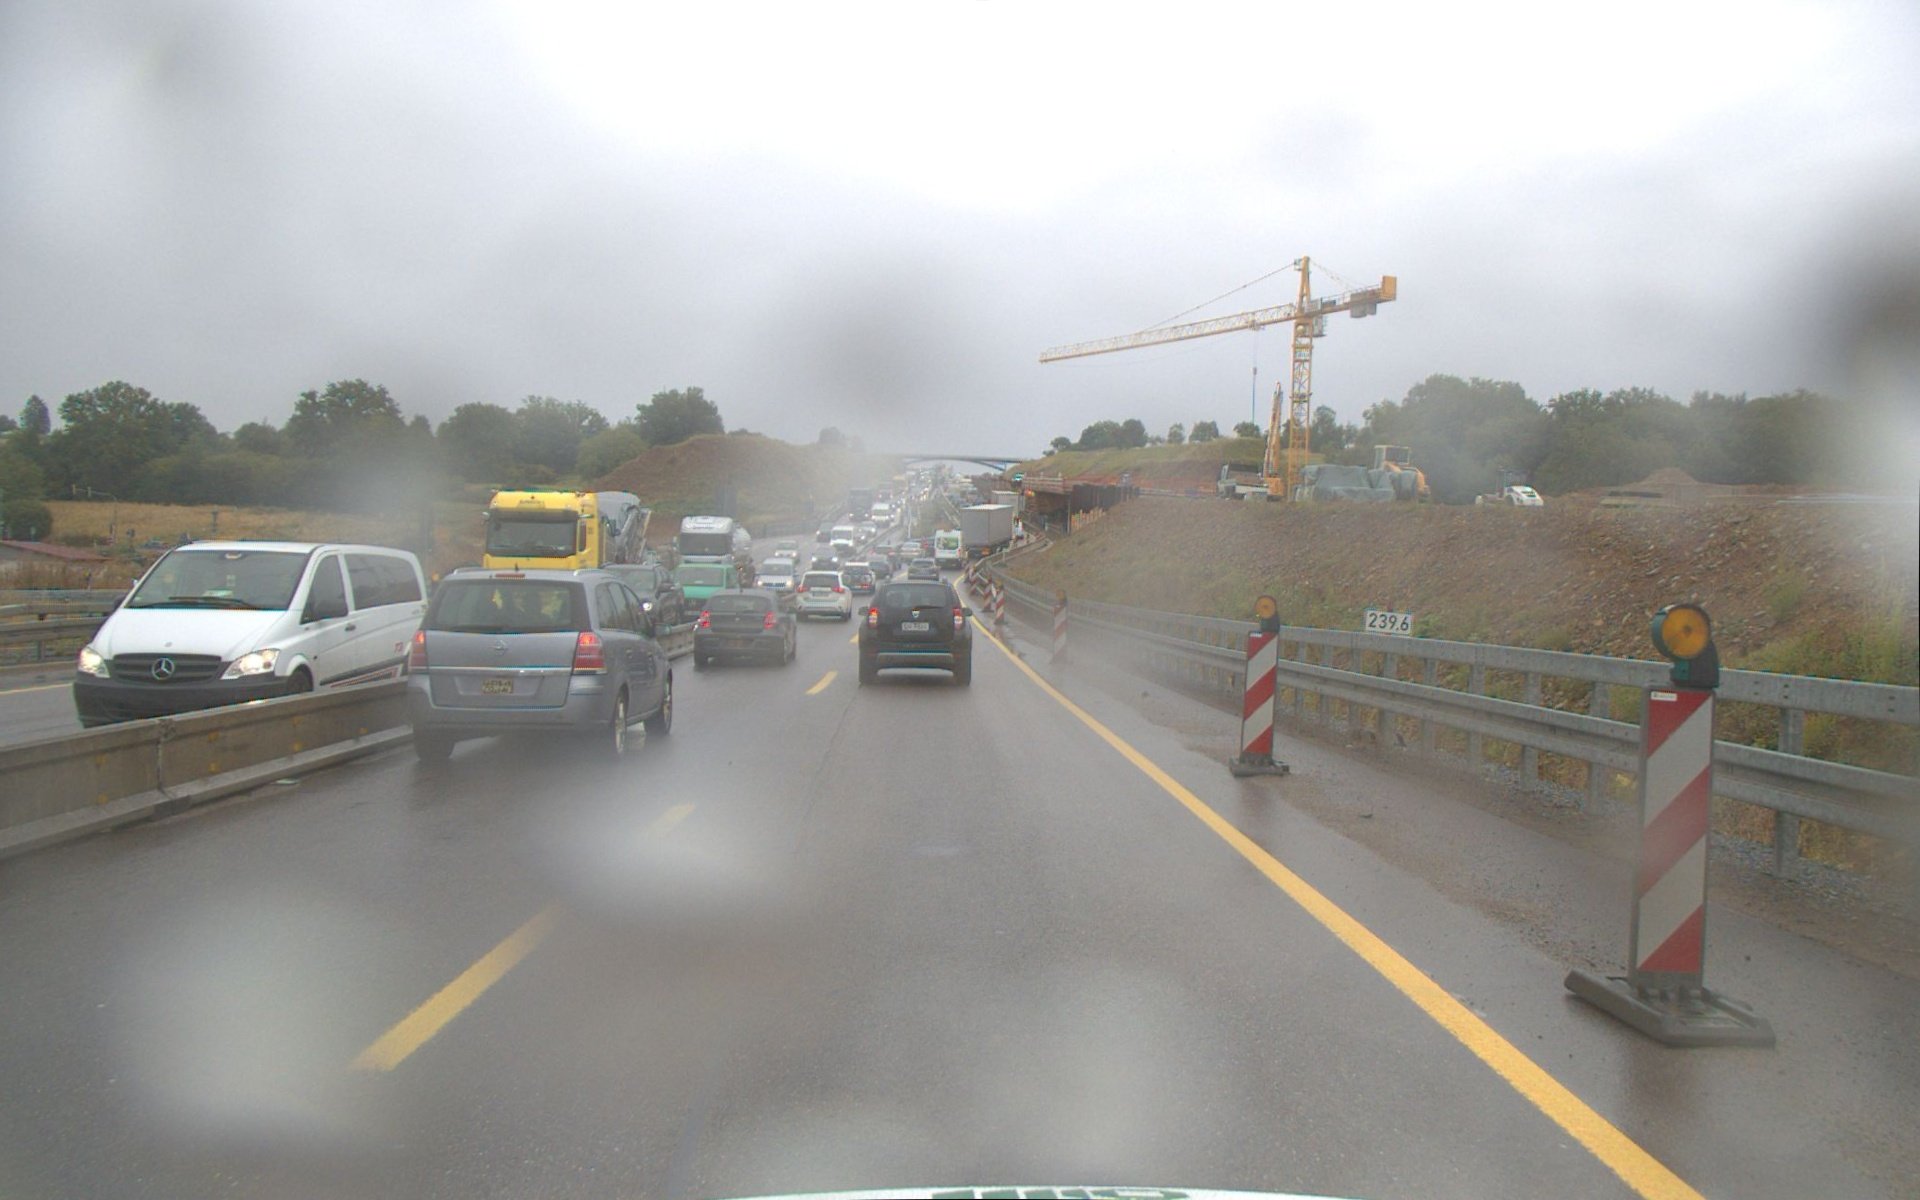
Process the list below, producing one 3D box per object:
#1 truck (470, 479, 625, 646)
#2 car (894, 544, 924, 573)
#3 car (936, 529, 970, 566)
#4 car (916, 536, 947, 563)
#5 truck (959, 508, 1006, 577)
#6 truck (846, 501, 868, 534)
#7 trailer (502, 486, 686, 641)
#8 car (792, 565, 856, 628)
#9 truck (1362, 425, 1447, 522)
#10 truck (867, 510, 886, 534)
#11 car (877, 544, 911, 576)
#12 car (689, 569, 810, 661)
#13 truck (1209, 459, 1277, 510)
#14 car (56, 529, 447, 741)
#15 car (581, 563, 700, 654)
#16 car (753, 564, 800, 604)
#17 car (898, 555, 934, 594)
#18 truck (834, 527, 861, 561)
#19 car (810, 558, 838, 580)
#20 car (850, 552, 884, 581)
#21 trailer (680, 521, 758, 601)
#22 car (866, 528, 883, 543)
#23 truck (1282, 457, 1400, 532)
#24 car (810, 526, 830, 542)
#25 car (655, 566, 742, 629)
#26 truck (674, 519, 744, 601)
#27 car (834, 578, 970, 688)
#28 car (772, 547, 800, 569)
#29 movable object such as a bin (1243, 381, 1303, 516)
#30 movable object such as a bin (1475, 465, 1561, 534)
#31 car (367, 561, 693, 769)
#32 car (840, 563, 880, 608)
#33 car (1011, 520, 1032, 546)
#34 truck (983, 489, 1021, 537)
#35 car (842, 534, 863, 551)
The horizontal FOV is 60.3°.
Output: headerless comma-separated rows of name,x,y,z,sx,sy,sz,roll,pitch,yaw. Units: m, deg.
truck,-10.956,-0.979,44.486,2.694,4.133,6.146,1,1,-1
car,-3.973,-3.262,130.070,1.952,2.200,4.142,1,1,3
car,-0.493,-3.795,120.195,1.951,2.527,4.985,1,1,6
car,-2.407,-4.259,140.373,1.951,2.200,4.144,1,1,7
truck,1.949,-4.745,139.118,3.036,5.520,9.450,1,1,6
truck,-13.048,-10.485,210.290,2.588,4.038,9.212,1,3,-3
trailer,-11.114,-1.072,52.176,2.694,4.112,15.355,1,1,-1
car,-4.623,-0.129,56.688,1.953,2.049,3.892,1,1,-2
truck,21.615,-6.078,80.672,2.325,4.291,5.977,1,1,-2
truck,-9.726,-9.089,193.807,2.104,2.760,6.015,1,2,-2
car,-4.643,-2.791,116.751,1.951,2.200,4.143,1,1,4
car,-3.972,0.244,31.822,1.954,1.628,4.138,1,1,-3
truck,16.821,-6.821,98.649,2.592,2.599,6.982,1,1,-2
car,-6.958,0.283,16.993,1.837,1.824,5.358,0,0,-2
car,-6.962,0.149,36.528,1.751,1.837,5.188,0,1,-1
car,-8.561,-0.762,77.401,1.828,1.831,4.161,1,1,-2
car,-2.534,-1.466,95.866,1.953,2.200,4.140,1,1,-1
truck,-9.360,-4.630,137.732,2.037,2.621,5.960,1,1,-2
car,-9.516,-2.208,116.224,1.737,1.530,4.678,1,1,-2
car,-5.897,-2.125,105.149,1.953,1.792,3.814,1,1,-1
trailer,-12.207,-1.959,84.725,2.567,3.741,12.000,1,1,-2
car,-8.861,-6.725,171.829,1.643,1.550,4.344,1,2,-2
truck,17.349,-4.757,75.956,3.326,2.925,8.960,1,1,0
car,-13.662,-6.430,161.399,1.751,1.565,4.311,1,1,-2
car,-7.861,-0.114,50.069,1.953,1.789,4.687,1,1,-1
truck,-12.013,-1.898,79.621,2.568,3.741,6.593,1,1,-2
car,-0.901,0.473,27.145,2.039,1.628,4.140,1,1,-1
car,-12.997,-3.156,123.594,1.752,1.573,3.999,1,2,-2
movable object such as a bin,27.668,-13.150,145.898,4.618,11.031,10.312,1,0,13
movable object such as a bin,32.424,-5.767,96.324,2.295,3.662,6.555,1,1,-4
car,-3.758,0.494,15.244,1.953,1.628,4.140,1,1,-1
car,-5.128,-0.724,84.221,1.954,2.200,4.137,1,1,-5
car,6.421,-6.922,172.170,1.953,2.527,4.741,1,1,0
truck,4.979,-10.395,198.910,3.727,5.130,12.917,1,1,-2
car,-10.174,-5.391,156.583,1.751,1.565,4.311,1,1,-2
